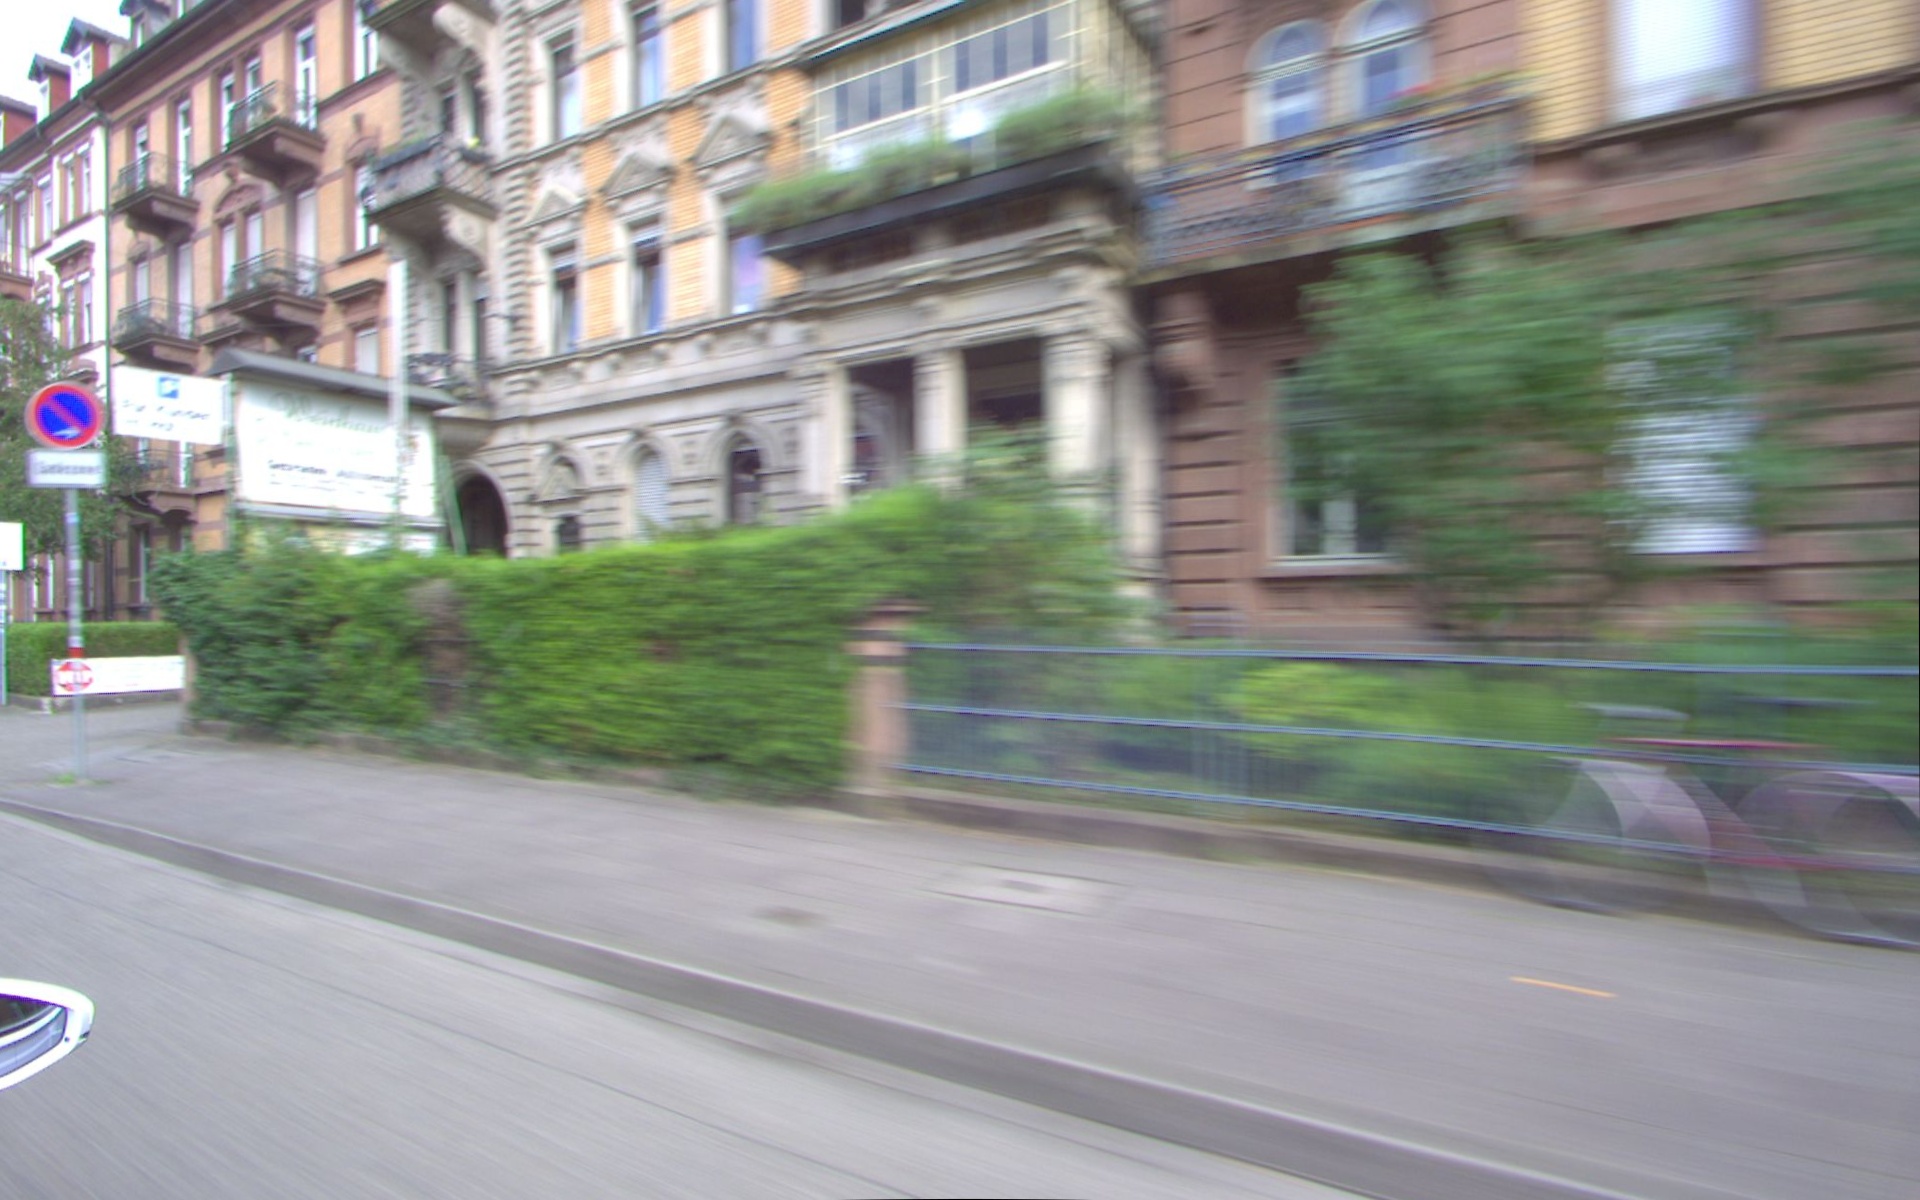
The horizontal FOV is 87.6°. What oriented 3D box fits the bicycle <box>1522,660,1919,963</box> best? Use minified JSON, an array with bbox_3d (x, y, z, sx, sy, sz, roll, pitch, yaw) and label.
[{"bbox_3d":[3.419,0.854,4.402,1.647,1.126,0.578,0,0,31],"label":"bicycle"}]
